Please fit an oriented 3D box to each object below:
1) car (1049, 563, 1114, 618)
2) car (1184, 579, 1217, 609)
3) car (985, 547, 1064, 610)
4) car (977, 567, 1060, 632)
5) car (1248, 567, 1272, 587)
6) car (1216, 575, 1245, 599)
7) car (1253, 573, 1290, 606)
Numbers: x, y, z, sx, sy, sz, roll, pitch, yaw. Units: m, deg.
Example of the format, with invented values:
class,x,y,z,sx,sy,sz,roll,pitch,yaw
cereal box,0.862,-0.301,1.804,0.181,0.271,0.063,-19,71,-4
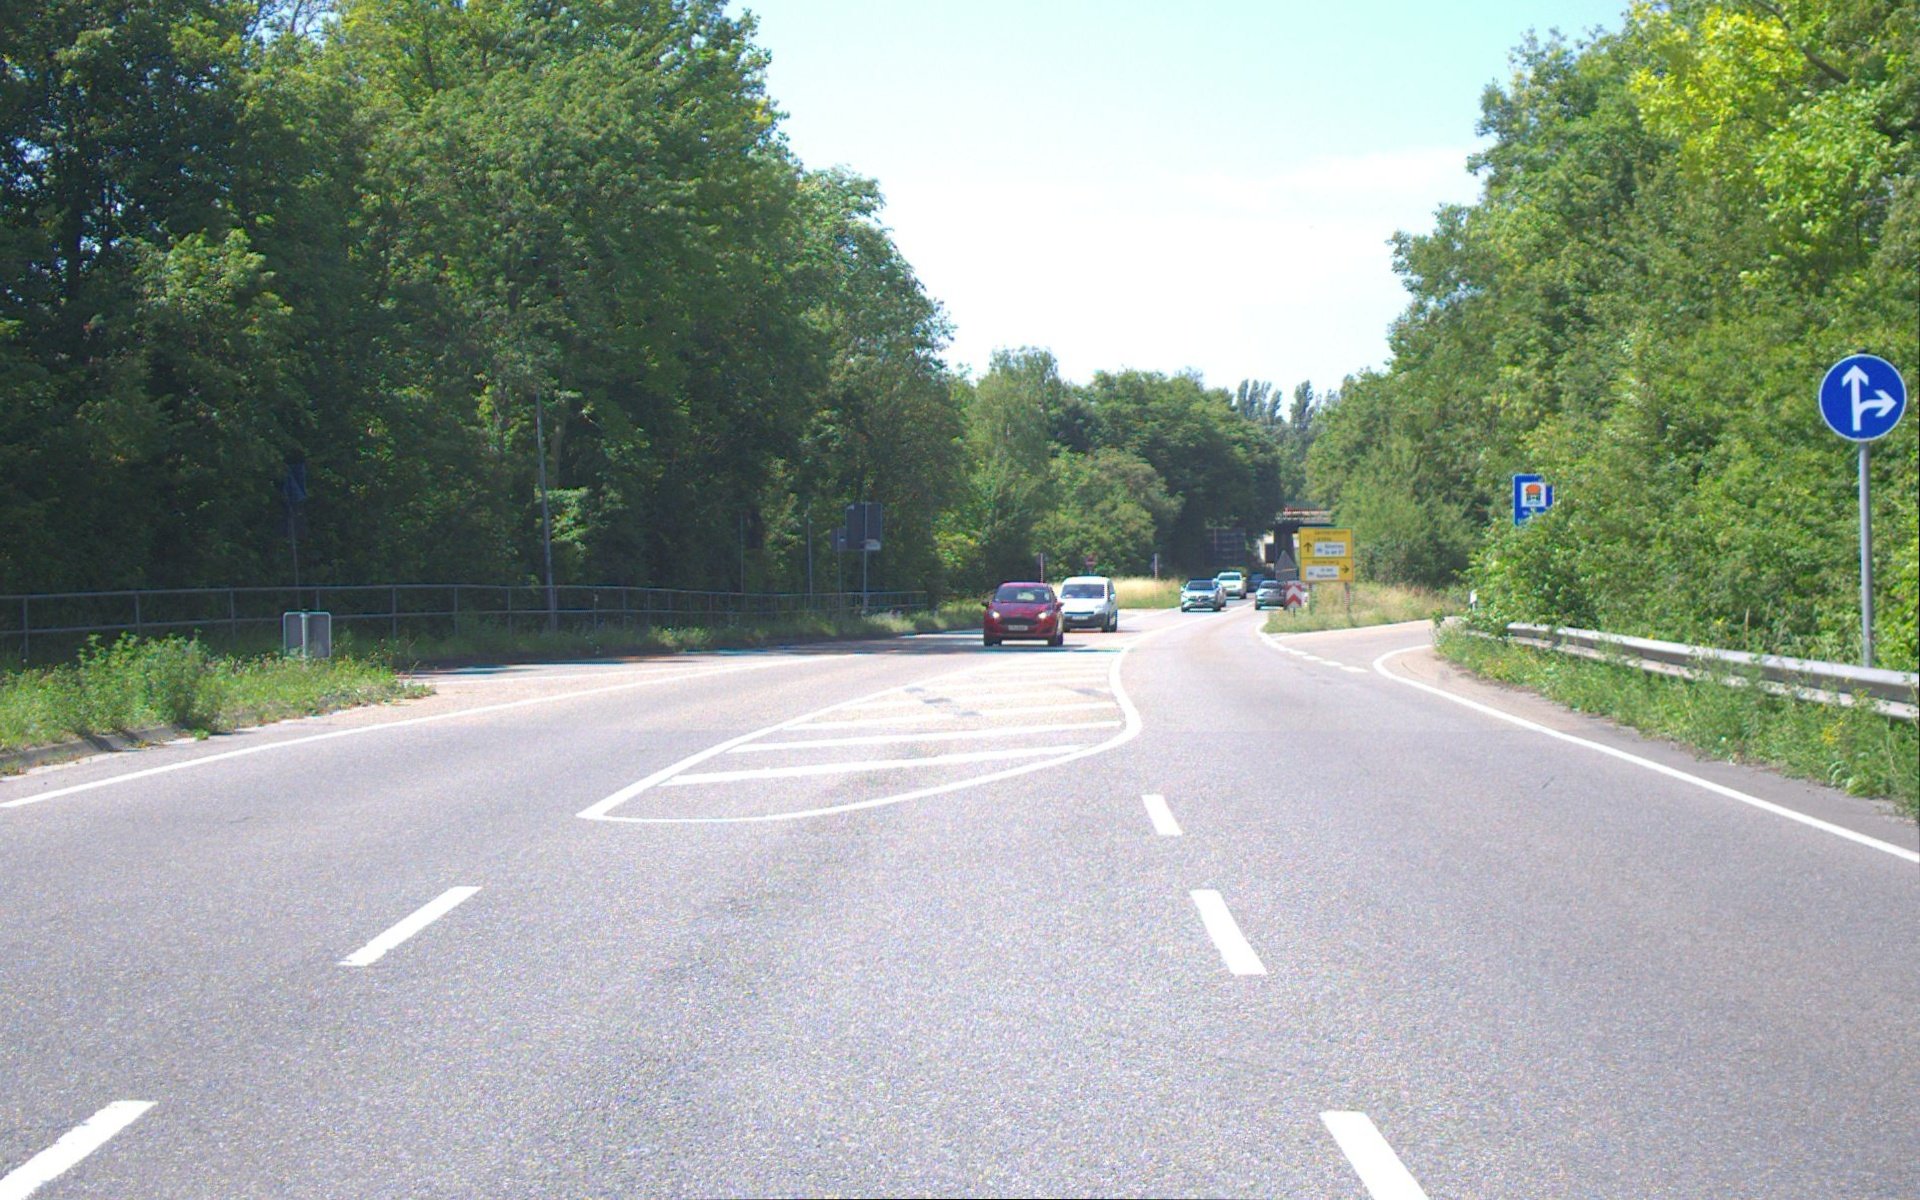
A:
class,x,y,z,sx,sy,sz,roll,pitch,yaw
car,3.959,-0.313,111.861,1.994,1.724,4.274,-1,1,3
car,12.590,-0.329,179.687,1.677,1.522,3.999,0,1,5
car,3.342,-1.127,178.469,1.993,3.215,4.809,-1,1,-28
car,1.335,-0.027,80.004,1.810,1.453,3.758,0,1,-1
car,22.755,-1.749,260.946,1.720,1.504,3.709,0,1,6
car,17.493,-0.854,221.985,1.720,1.523,3.709,0,1,6
car,16.470,-0.565,182.005,1.843,1.679,4.000,0,1,4
